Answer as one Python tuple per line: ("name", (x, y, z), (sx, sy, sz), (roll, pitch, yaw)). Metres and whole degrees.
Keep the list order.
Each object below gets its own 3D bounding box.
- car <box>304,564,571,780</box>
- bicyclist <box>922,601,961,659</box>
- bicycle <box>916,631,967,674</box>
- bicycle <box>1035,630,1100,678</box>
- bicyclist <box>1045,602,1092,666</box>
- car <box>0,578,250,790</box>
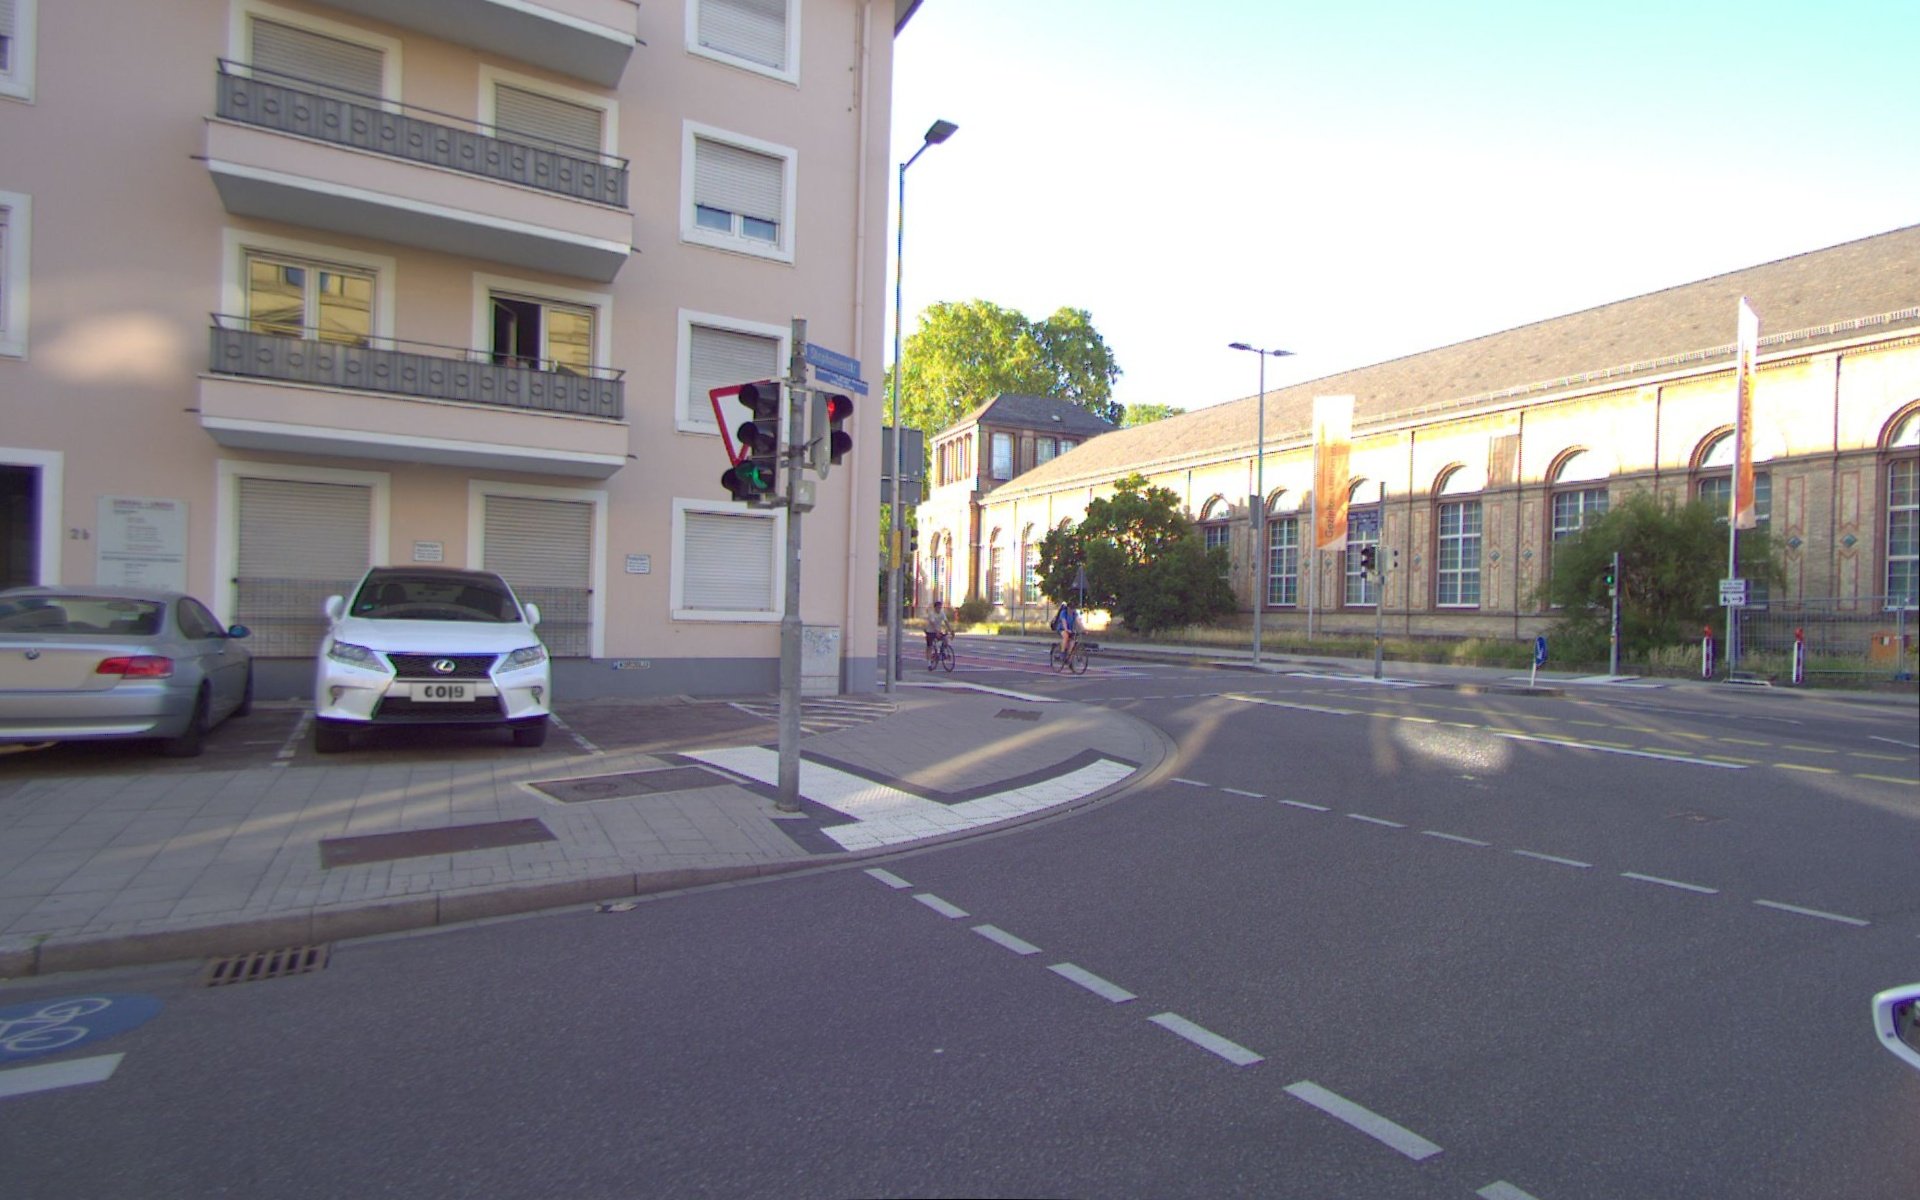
("car", (-5.361, 0.512, 10.170), (1.920, 1.663, 4.417), (1, 1, -31))
("bicyclist", (-0.478, 0.751, 25.395), (0.703, 1.459, 0.889), (1, 0, -23))
("bicycle", (-0.481, 1.313, 25.382), (0.713, 1.024, 1.680), (1, -1, -22))
("bicycle", (2.649, 1.324, 24.966), (0.713, 1.082, 1.990), (1, -1, -22))
("bicyclist", (2.687, 0.830, 24.913), (0.703, 1.565, 1.119), (1, 0, -23))
("car", (-7.597, 0.568, 8.946), (1.716, 1.399, 4.244), (1, 1, -31))
